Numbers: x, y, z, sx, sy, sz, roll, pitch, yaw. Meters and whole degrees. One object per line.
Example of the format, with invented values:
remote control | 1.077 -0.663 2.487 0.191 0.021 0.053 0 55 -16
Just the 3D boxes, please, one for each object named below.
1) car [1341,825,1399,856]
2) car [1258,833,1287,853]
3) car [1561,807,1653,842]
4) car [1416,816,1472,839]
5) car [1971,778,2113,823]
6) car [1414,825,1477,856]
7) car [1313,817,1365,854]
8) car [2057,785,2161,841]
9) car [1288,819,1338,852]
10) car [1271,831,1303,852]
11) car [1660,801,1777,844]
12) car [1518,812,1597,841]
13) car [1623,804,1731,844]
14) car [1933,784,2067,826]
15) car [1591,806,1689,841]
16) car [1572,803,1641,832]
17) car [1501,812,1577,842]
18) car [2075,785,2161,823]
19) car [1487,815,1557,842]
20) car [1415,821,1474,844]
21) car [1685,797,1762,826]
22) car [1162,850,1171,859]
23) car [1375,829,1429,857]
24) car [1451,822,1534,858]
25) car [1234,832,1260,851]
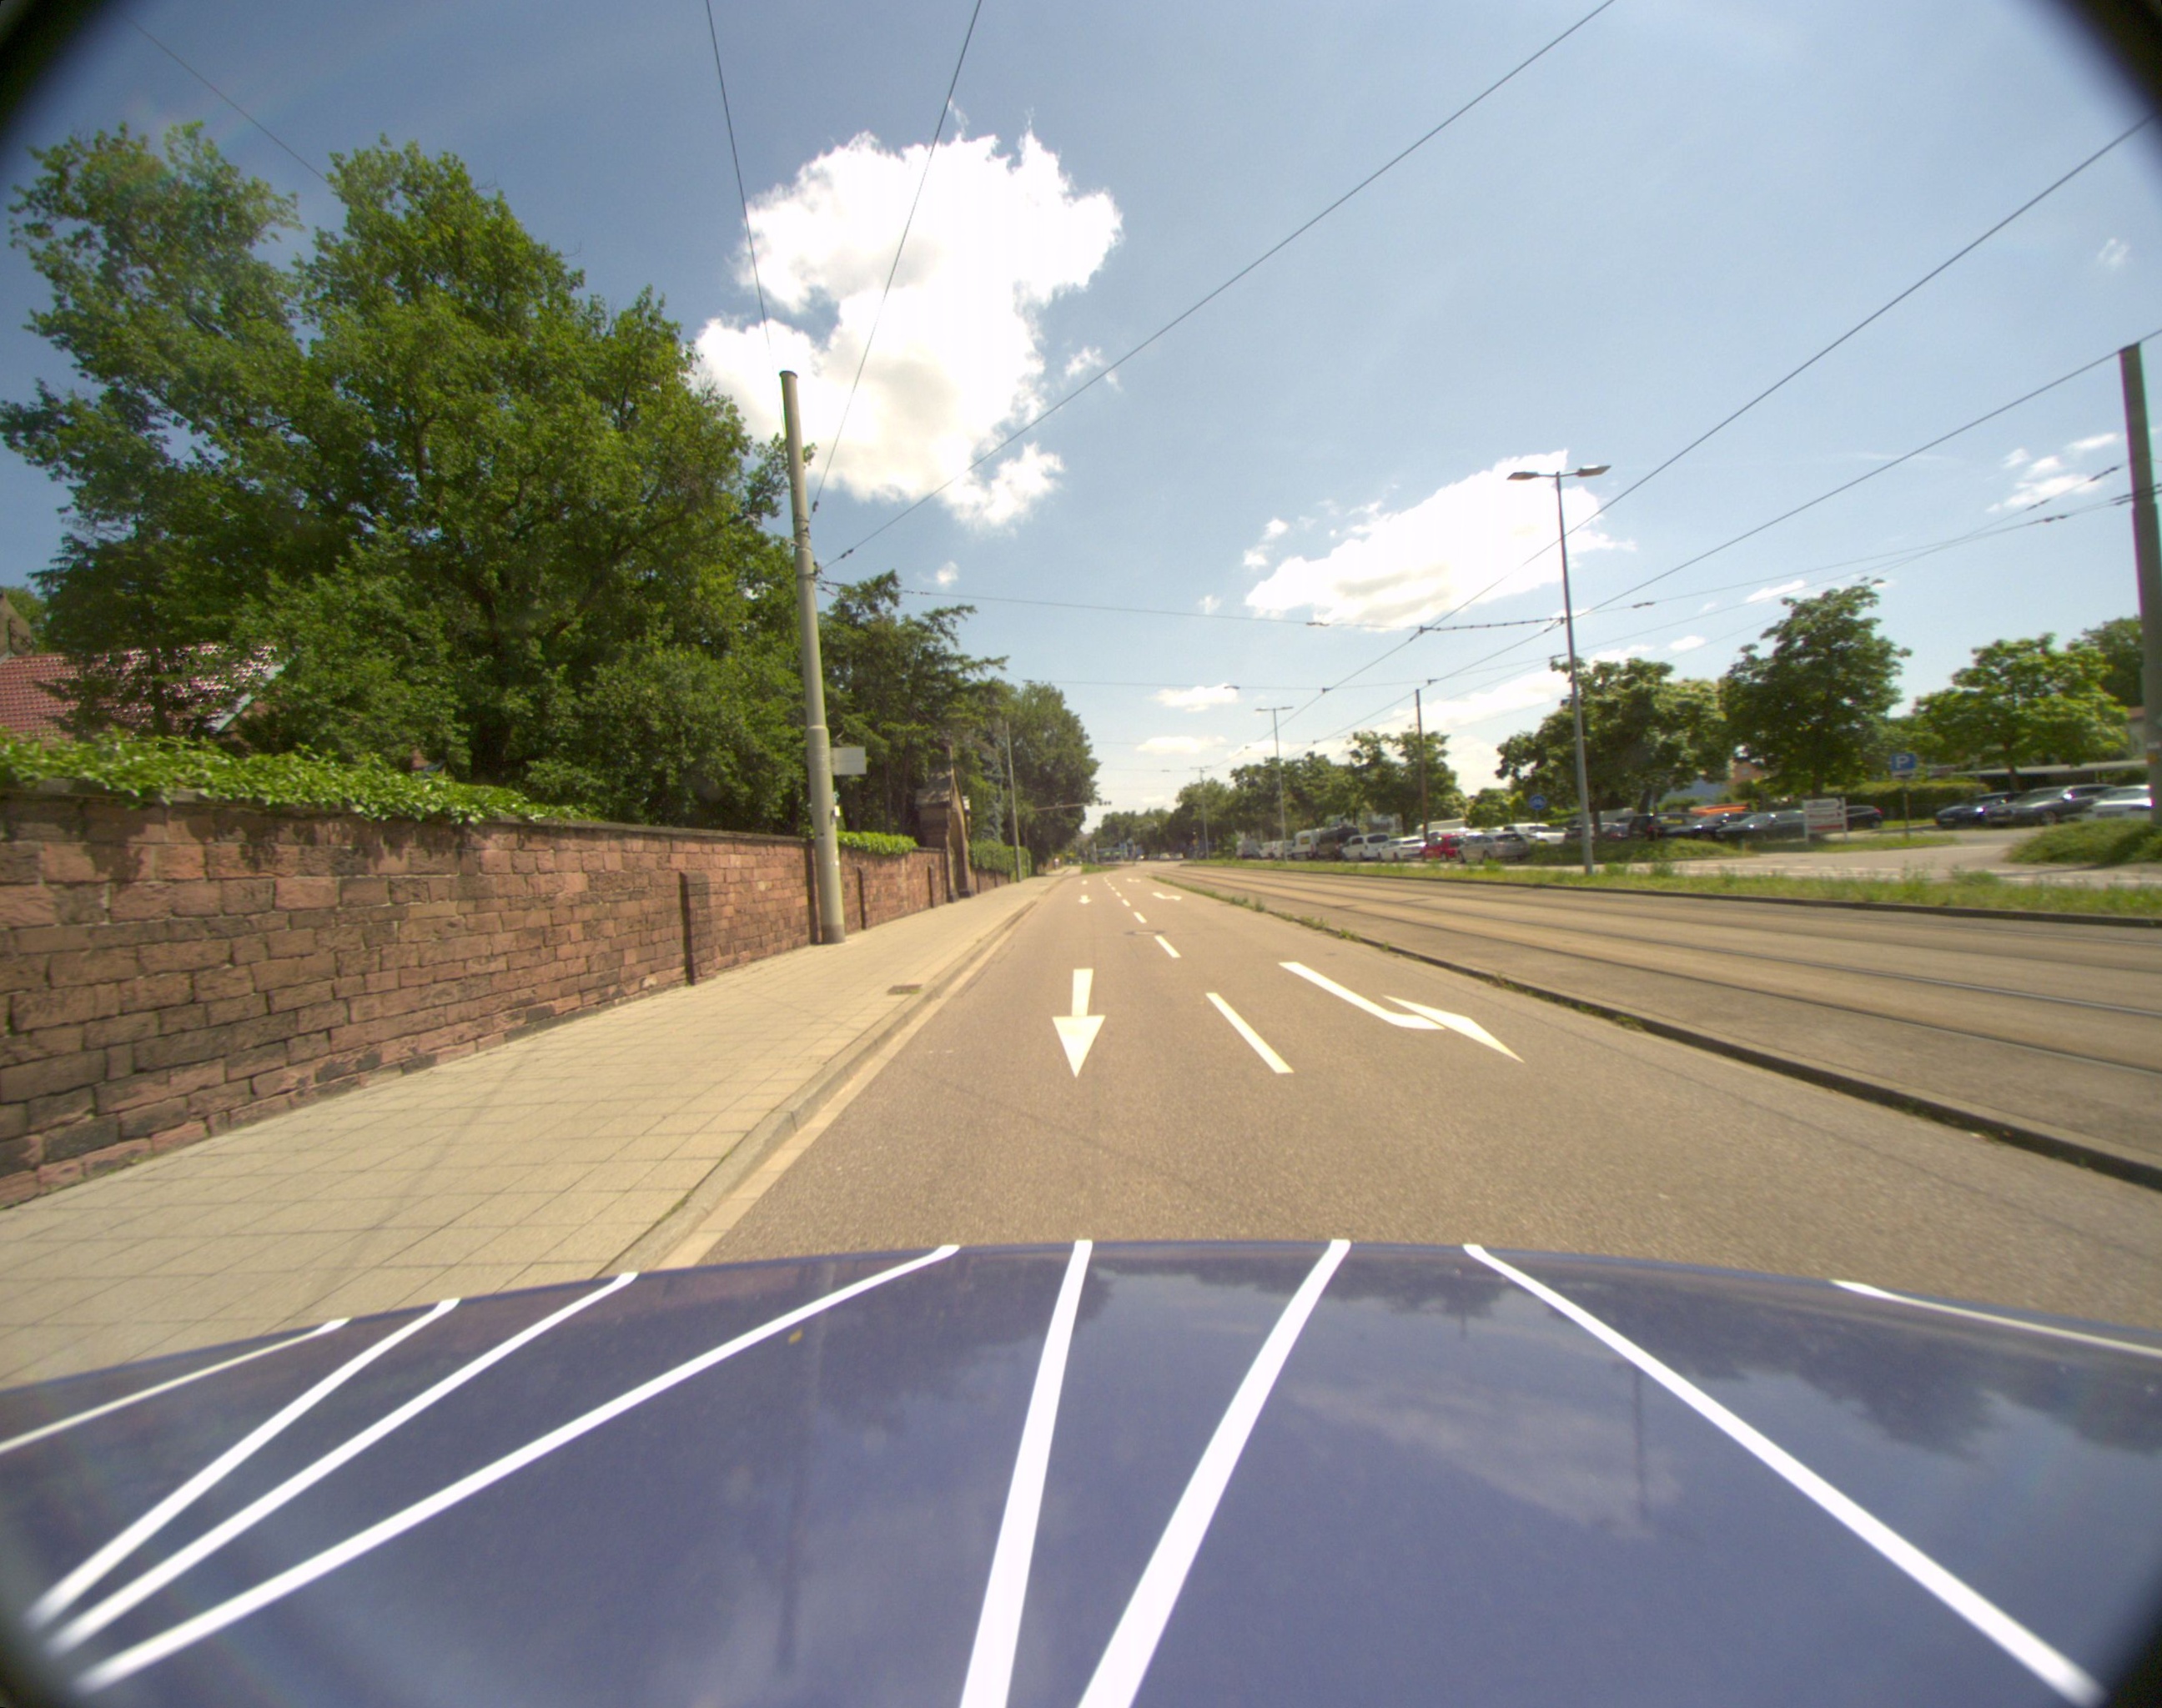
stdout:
car | 20.374 -0.951 53.796 2.156 1.827 4.888 -6 1 1
car | 21.003 -1.215 83.440 1.795 1.927 4.488 -6 1 -1
car | 30.401 -1.698 44.017 3.997 1.726 1.803 -4 1 1
car | 44.982 -3.236 94.208 5.698 2.467 2.259 -4 1 -2
car | 42.994 -2.360 34.065 3.996 1.726 1.721 -2 1 4
car | 20.362 -0.753 42.577 1.503 1.531 3.648 -6 1 -3
car | 20.235 -1.431 59.802 2.156 2.596 5.033 -6 1 1
car | 30.526 -1.237 20.967 4.484 1.426 1.907 -4 0 3
car | 20.625 -1.638 68.019 2.156 2.596 6.703 -6 1 0
car | 20.746 -1.240 76.739 1.794 1.927 4.648 -6 1 1
car | 30.462 -1.503 36.409 3.997 1.726 1.803 -4 1 1
car | 31.099 -1.768 49.640 3.997 1.726 1.803 -2 1 1
car | 30.685 -1.529 39.187 3.997 1.726 1.879 -4 1 1
car | 43.483 -2.284 36.038 3.996 1.726 1.803 -2 1 4
car | 30.554 -1.643 41.594 3.997 1.726 1.803 -2 1 1
car | 44.739 -3.067 64.757 4.652 2.212 1.851 -2 1 -2
car | 31.473 -1.823 52.257 3.997 1.726 1.903 -4 1 1
car | 44.060 -2.114 31.100 3.996 1.394 1.907 -4 1 3
car | 31.833 -1.845 54.890 3.997 1.726 1.803 -2 1 1
car | 31.598 -1.861 66.145 4.199 1.726 1.803 -2 1 1
car | 43.665 -2.876 51.689 3.745 1.726 1.760 -2 1 -2
car | 16.902 0.013 150.953 1.681 1.680 3.546 -2 1 6
car | 19.900 -0.692 47.276 1.503 1.531 4.359 -6 1 2
car | 20.167 -0.681 37.464 1.580 1.531 4.550 -6 1 2
car | 20.905 -1.580 95.756 2.071 2.089 4.488 -6 1 -1
